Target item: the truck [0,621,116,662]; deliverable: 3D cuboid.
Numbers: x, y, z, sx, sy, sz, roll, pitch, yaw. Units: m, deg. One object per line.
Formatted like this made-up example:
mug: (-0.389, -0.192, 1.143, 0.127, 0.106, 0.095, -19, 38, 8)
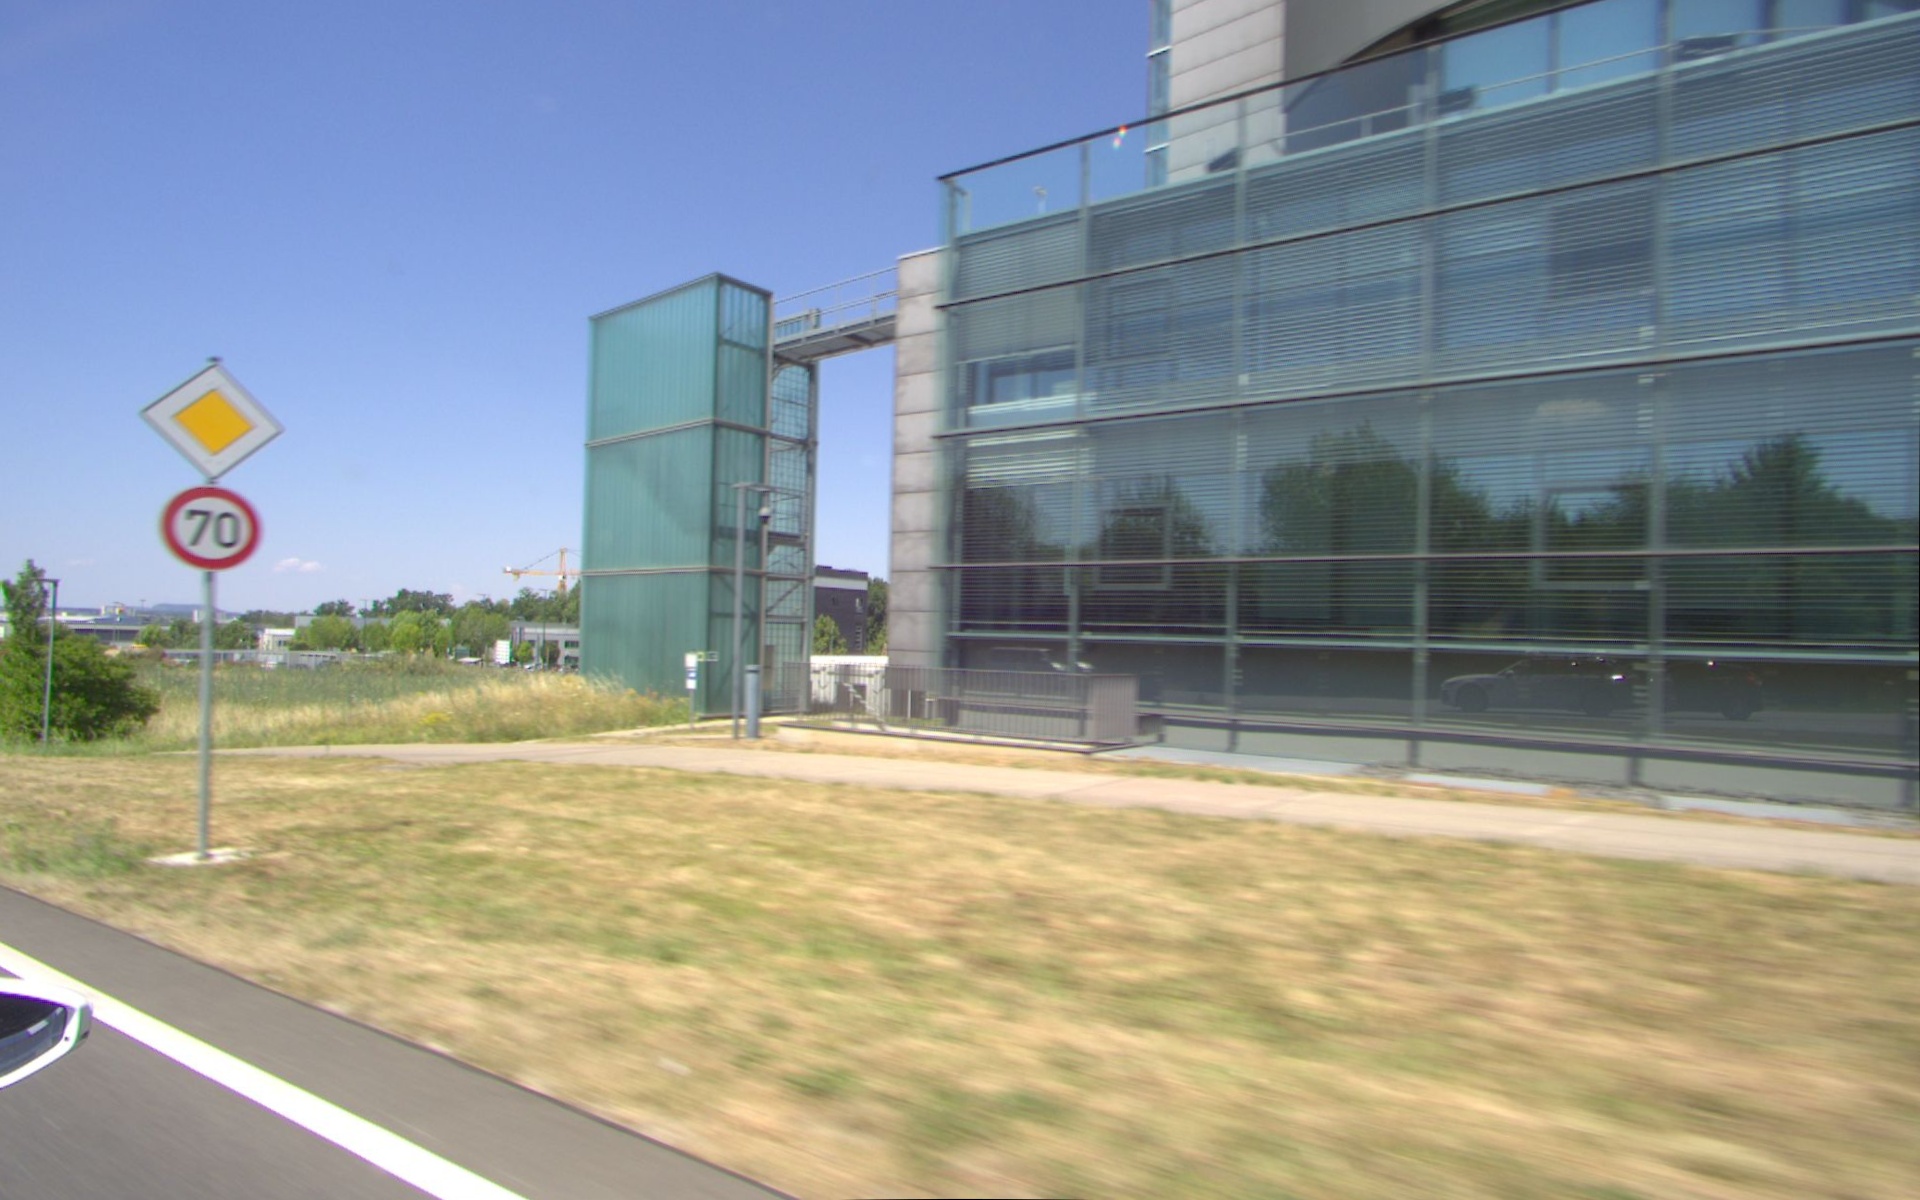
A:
truck: (-91.176, 4.197, 100.543, 9.288, 3.731, 3.115, 3, -2, -30)
